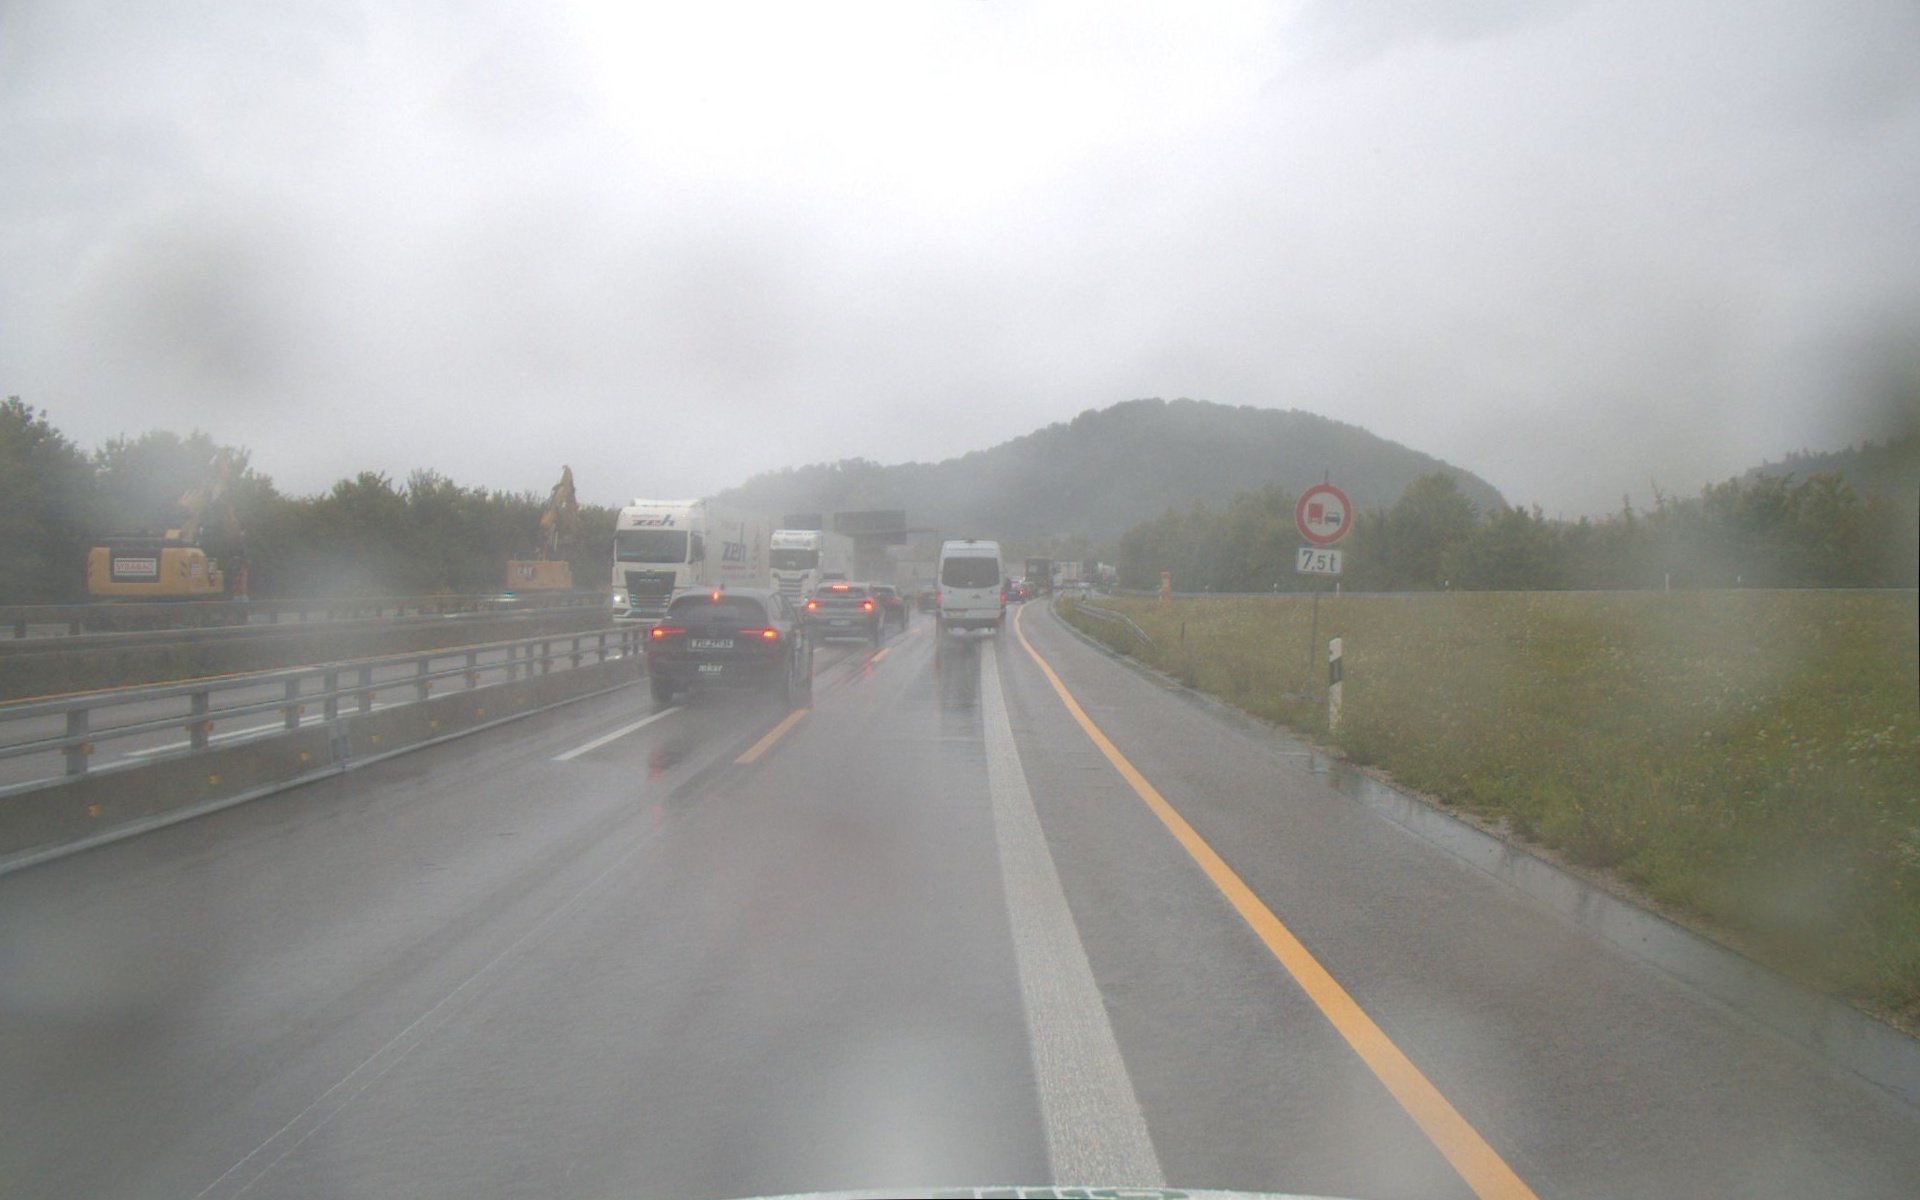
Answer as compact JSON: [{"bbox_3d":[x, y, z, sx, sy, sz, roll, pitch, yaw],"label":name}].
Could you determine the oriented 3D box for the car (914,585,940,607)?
[{"bbox_3d":[-1.688,-0.200,85.598,1.236,1.097,3.255,0,0,1],"label":"car"}]

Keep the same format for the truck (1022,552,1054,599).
[{"bbox_3d":[8.624,-2.621,182.085,3.251,4.868,9.911,1,0,4],"label":"truck"}]

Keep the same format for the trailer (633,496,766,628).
[{"bbox_3d":[-8.970,-1.320,58.515,2.442,4.120,12.589,0,1,1],"label":"trailer"}]

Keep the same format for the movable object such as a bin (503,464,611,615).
[{"bbox_3d":[-23.300,-3.375,96.158,3.521,8.286,8.312,1,0,4],"label":"movable object such as a bin"}]

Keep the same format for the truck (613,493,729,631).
[{"bbox_3d":[-9.106,-1.191,52.731,2.432,4.101,6.450,1,1,1],"label":"truck"}]

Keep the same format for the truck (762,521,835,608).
[{"bbox_3d":[-8.016,-1.761,82.786,2.824,4.173,6.927,0,1,1],"label":"truck"}]

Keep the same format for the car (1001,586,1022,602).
[{"bbox_3d":[3.734,-0.447,120.445,1.356,1.097,3.121,0,0,-2],"label":"car"}]

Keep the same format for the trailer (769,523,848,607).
[{"bbox_3d":[-7.915,-1.853,88.100,2.847,4.161,12.222,0,1,1],"label":"trailer"}]

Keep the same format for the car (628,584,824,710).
[{"bbox_3d":[-2.935,0.537,21.745,1.899,1.452,4.760,1,0,0],"label":"car"}]

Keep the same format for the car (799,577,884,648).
[{"bbox_3d":[-2.915,0.292,41.352,1.829,1.688,3.988,0,0,0],"label":"car"}]

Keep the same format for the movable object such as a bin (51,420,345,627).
[{"bbox_3d":[-24.562,-2.271,54.367,4.084,6.018,11.048,1,0,2],"label":"movable object such as a bin"}]

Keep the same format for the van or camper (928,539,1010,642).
[{"bbox_3d":[0.209,-0.264,46.825,2.096,2.769,4.646,0,0,-2],"label":"van or camper"}]

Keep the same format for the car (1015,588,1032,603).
[{"bbox_3d":[5.495,-0.426,143.130,1.356,1.278,3.122,0,0,0],"label":"car"}]

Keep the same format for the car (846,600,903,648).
[{"bbox_3d":[-2.876,0.786,56.145,1.815,1.527,3.999,0,0,-1],"label":"car"}]

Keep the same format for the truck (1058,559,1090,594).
[{"bbox_3d":[16.899,-3.396,243.975,3.845,4.868,9.915,1,0,8],"label":"truck"}]
